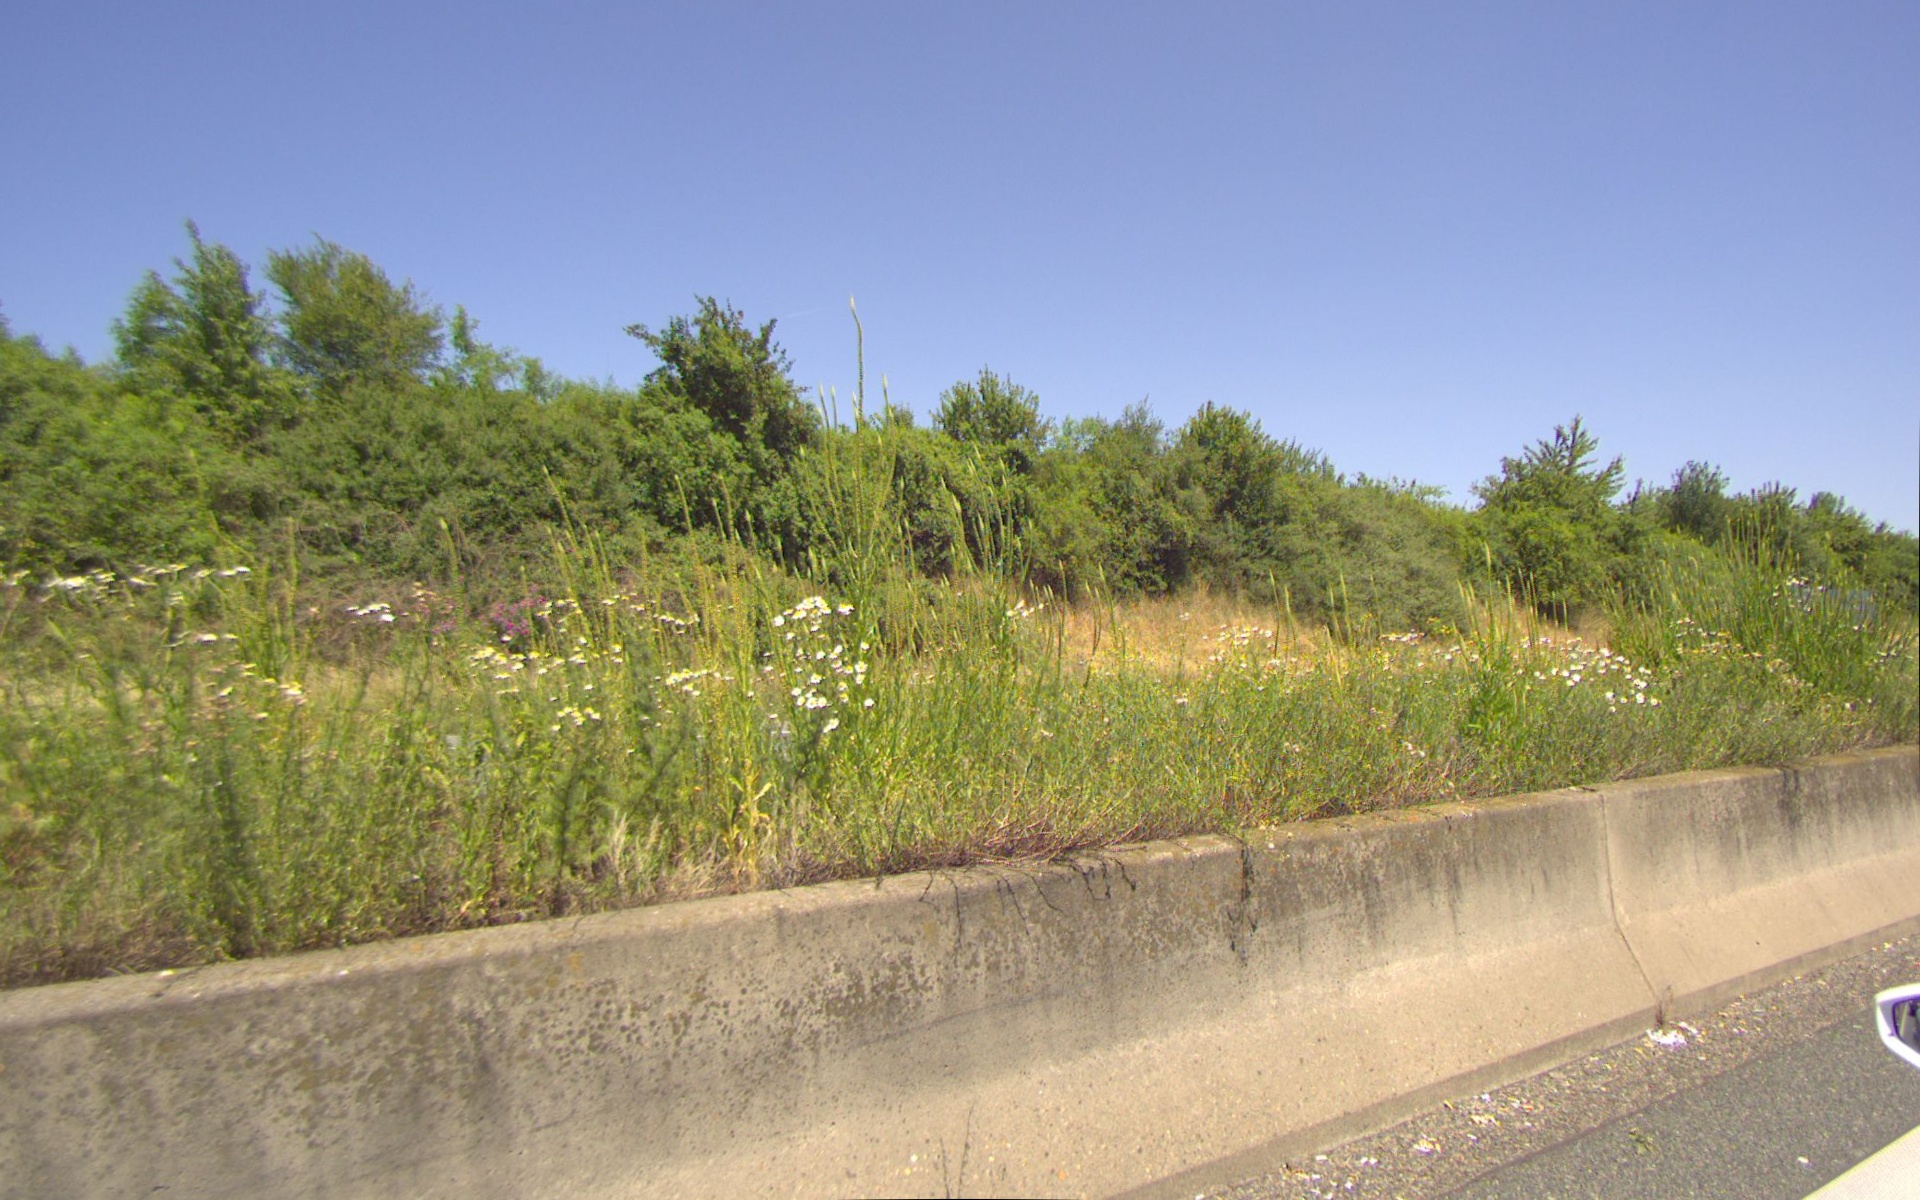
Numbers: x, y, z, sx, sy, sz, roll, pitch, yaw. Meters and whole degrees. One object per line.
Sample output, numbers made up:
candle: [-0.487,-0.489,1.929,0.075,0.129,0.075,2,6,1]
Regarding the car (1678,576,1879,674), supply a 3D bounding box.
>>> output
car: [19.444,0.622,23.815,5.166,2.119,1.985,1,-2,-30]
